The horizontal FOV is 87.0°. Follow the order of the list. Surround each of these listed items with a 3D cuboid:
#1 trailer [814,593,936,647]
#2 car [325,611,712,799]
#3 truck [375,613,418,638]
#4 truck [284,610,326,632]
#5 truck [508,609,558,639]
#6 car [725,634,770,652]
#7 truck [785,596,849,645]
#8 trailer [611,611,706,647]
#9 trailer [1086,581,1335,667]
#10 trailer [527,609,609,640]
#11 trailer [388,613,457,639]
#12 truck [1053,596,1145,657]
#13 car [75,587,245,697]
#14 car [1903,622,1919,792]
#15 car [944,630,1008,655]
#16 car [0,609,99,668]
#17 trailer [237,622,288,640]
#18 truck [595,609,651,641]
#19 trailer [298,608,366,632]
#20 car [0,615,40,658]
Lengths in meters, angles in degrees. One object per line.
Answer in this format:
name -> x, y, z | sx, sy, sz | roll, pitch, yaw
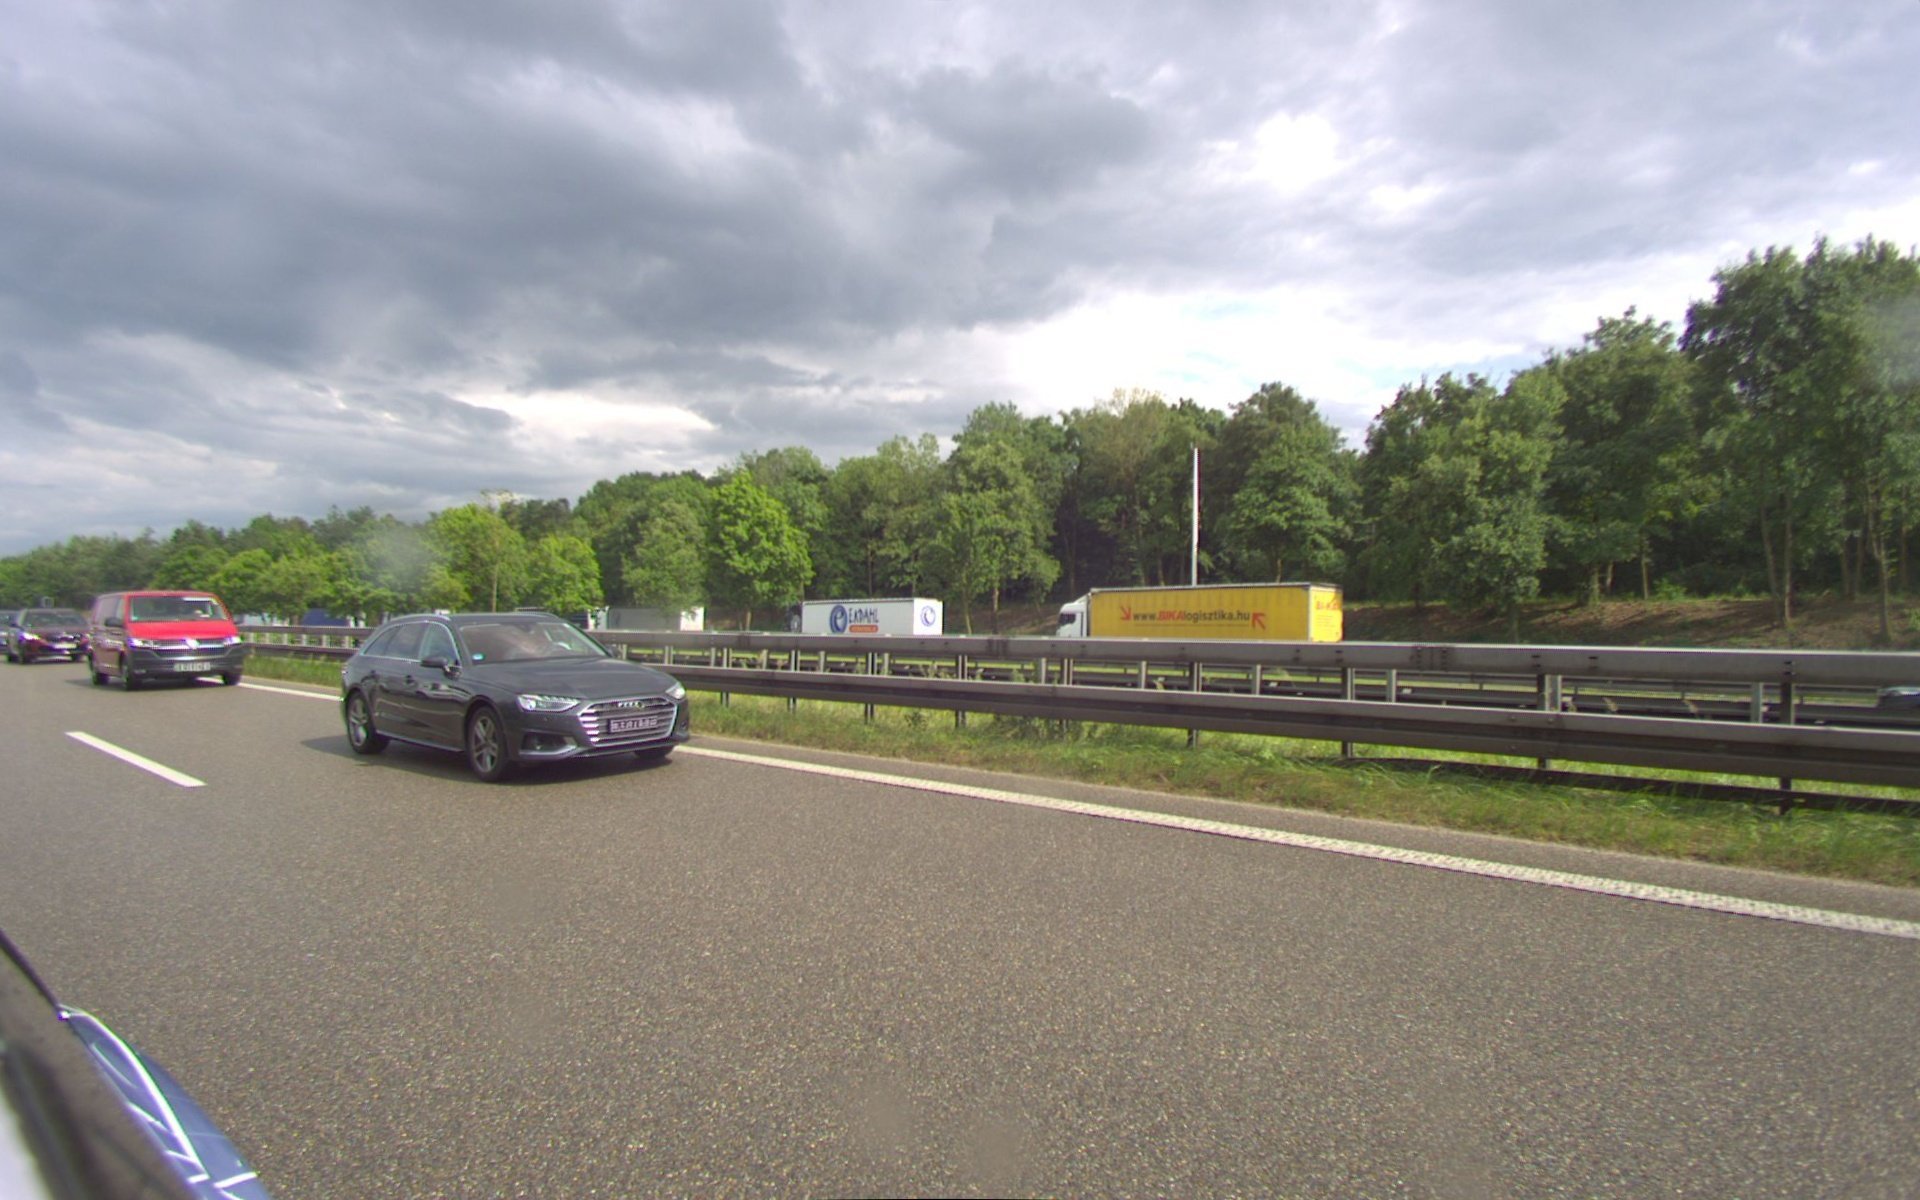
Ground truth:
trailer -> -6.334, 1.449, 72.822 | 2.156, 3.627, 11.734 | 2, -2, -42
car -> -4.468, 0.840, 9.881 | 4.465, 1.422, 1.701 | -1, -1, 41
truck -> -75.801, 3.421, 136.065 | 5.385, 3.280, 3.142 | -1, -3, 39
truck -> -97.317, 3.117, 150.268 | 6.081, 3.280, 3.047 | 0, -2, 34
truck -> -48.442, 2.724, 114.780 | 6.532, 3.275, 2.549 | -1, -2, 41
car -> -18.163, 3.665, 86.350 | 4.002, 1.514, 1.873 | -1, -2, 45
truck -> -11.066, 1.581, 78.171 | 2.136, 3.648, 5.585 | 2, -2, -42
trailer -> -29.081, 2.748, 97.198 | 12.173, 3.217, 2.987 | -1, -2, 43
trailer -> 11.740, 1.048, 49.786 | 1.967, 3.722, 13.688 | 0, 0, -37
trailer -> -42.693, 2.642, 109.809 | 12.640, 3.296, 2.577 | -1, -2, 41
trailer -> -69.856, 3.365, 131.347 | 12.631, 3.296, 3.153 | -1, -2, 38
truck -> 7.531, 1.384, 55.342 | 1.950, 3.121, 5.087 | -1, 0, -37
car -> -16.504, 0.800, 20.793 | 4.747, 2.000, 1.871 | -1, -1, 41
car -> 13.618, 1.242, 11.298 | 4.393, 1.980, 1.973 | -1, -1, 41
car -> 0.994, 2.677, 64.138 | 1.871, 1.514, 4.005 | 2, -2, -41
car -> -28.300, 1.141, 31.335 | 4.292, 1.682, 1.871 | -1, -1, 40
trailer -> -107.896, 4.737, 156.562 | 9.838, 2.594, 2.512 | 0, -1, 30
truck -> -33.938, 2.514, 101.871 | 5.596, 3.208, 3.009 | -1, -2, 43
trailer -> -90.444, 2.915, 145.618 | 13.374, 3.296, 3.050 | -1, -2, 34
car -> -36.873, 1.365, 38.794 | 4.051, 1.578, 1.871 | -1, -1, 41
